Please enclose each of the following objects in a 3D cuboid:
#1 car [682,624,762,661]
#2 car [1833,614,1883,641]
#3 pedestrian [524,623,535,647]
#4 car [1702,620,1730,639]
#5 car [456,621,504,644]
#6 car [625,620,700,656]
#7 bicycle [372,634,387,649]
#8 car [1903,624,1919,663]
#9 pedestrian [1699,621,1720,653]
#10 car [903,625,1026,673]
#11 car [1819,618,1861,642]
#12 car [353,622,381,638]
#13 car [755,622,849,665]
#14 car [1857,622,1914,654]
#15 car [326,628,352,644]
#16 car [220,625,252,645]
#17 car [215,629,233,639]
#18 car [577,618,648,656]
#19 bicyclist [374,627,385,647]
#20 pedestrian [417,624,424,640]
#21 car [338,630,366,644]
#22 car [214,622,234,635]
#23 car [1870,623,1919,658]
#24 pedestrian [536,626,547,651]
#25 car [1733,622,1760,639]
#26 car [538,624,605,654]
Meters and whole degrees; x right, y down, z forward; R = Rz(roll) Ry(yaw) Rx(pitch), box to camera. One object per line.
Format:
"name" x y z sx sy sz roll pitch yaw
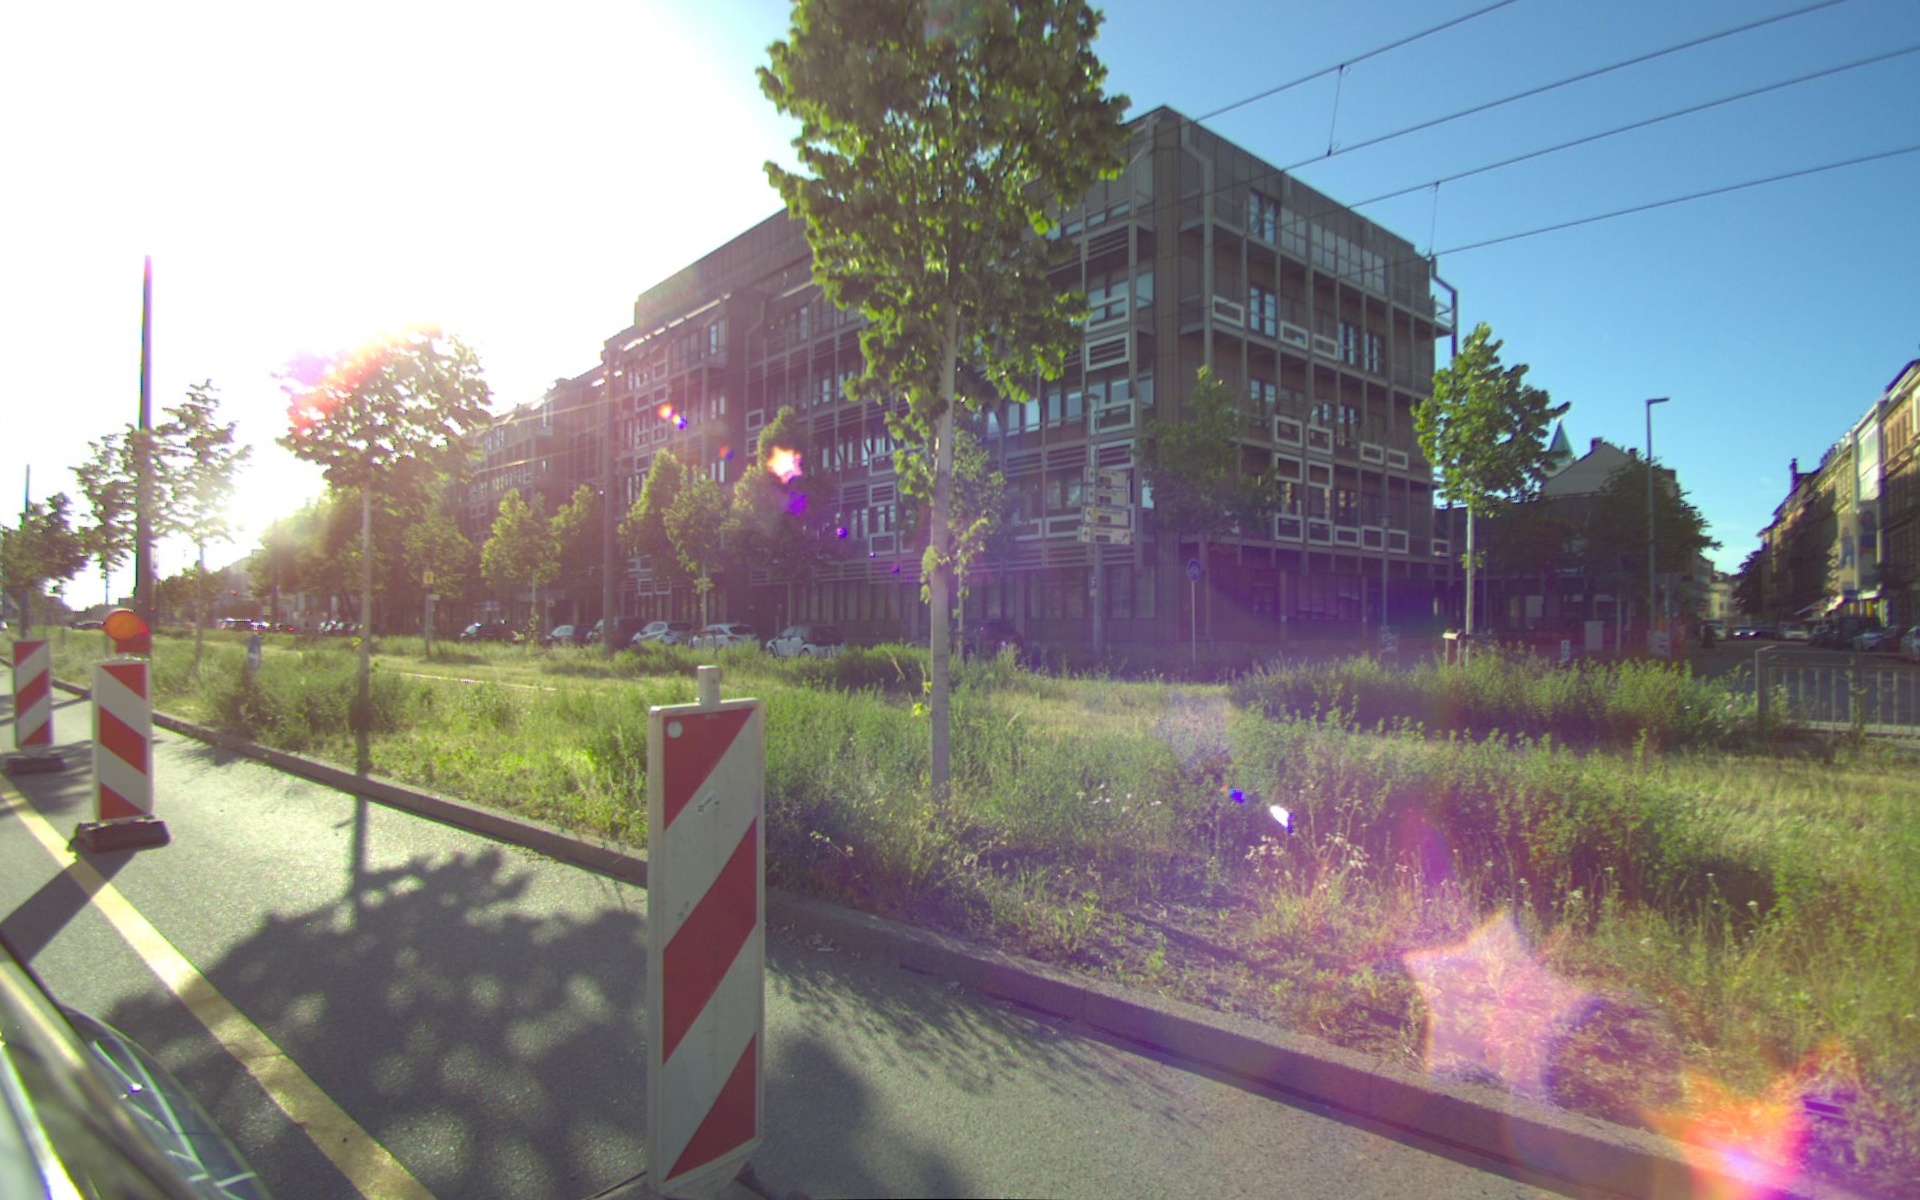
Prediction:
"car" -10.098 1.767 42.721 1.605 1.452 3.823 -1 -1 -43
"car" 48.814 1.505 55.058 1.596 1.420 3.322 -1 -2 35
"pedestrian" -29.014 2.343 68.213 0.514 1.590 0.537 2 -2 -40
"car" 66.388 2.566 88.906 1.853 1.586 3.952 -1 -2 35
"car" -31.033 2.082 65.381 1.695 1.397 4.044 -1 0 -42
"car" -13.687 1.742 46.463 1.717 1.548 3.888 0 -1 -43
"bicycle" -44.095 3.164 76.845 0.558 1.105 1.772 3 -3 -44
"car" 35.963 1.582 37.151 1.482 1.420 3.027 -1 -2 35
"pedestrian" 35.570 1.756 48.016 0.734 1.527 0.610 -1 -2 34
"car" 0.110 1.548 32.861 3.900 1.472 1.711 -1 -2 43
"car" 54.151 1.835 62.345 1.569 1.389 3.652 -2 -2 36
"car" -60.718 3.077 103.629 1.701 1.555 3.634 -1 0 -43
"car" -6.135 1.632 39.035 1.629 1.566 3.970 1 -2 -43
"car" 42.983 1.750 47.053 1.501 1.420 3.011 -1 -2 34
"car" -68.750 4.008 112.022 1.701 1.614 3.634 -1 -2 -43
"car" -65.160 3.125 91.047 1.708 1.760 4.123 1 -2 -45
"car" -95.880 4.420 131.754 1.532 1.390 3.785 2 -2 -41
"car" -17.253 1.821 50.160 1.730 1.785 4.335 -1 -1 -43
"bicyclist" -44.086 2.814 76.848 0.558 1.468 0.706 3 -3 -44
"pedestrian" -58.915 3.503 110.503 0.476 1.763 0.640 2 -2 -41
"car" -64.920 3.940 108.039 3.633 1.497 1.702 -1 -2 44
"car" -100.844 3.942 138.597 1.838 1.694 3.785 2 -2 -41
"car" 39.622 1.687 42.627 1.482 1.420 3.027 -1 -2 35
"pedestrian" -28.351 2.610 68.500 0.514 1.735 0.537 2 -2 -40
"car" 77.696 2.977 100.029 1.865 1.652 3.952 -1 -2 36
"car" -20.836 2.057 54.132 1.709 1.480 4.507 -1 -1 -44
